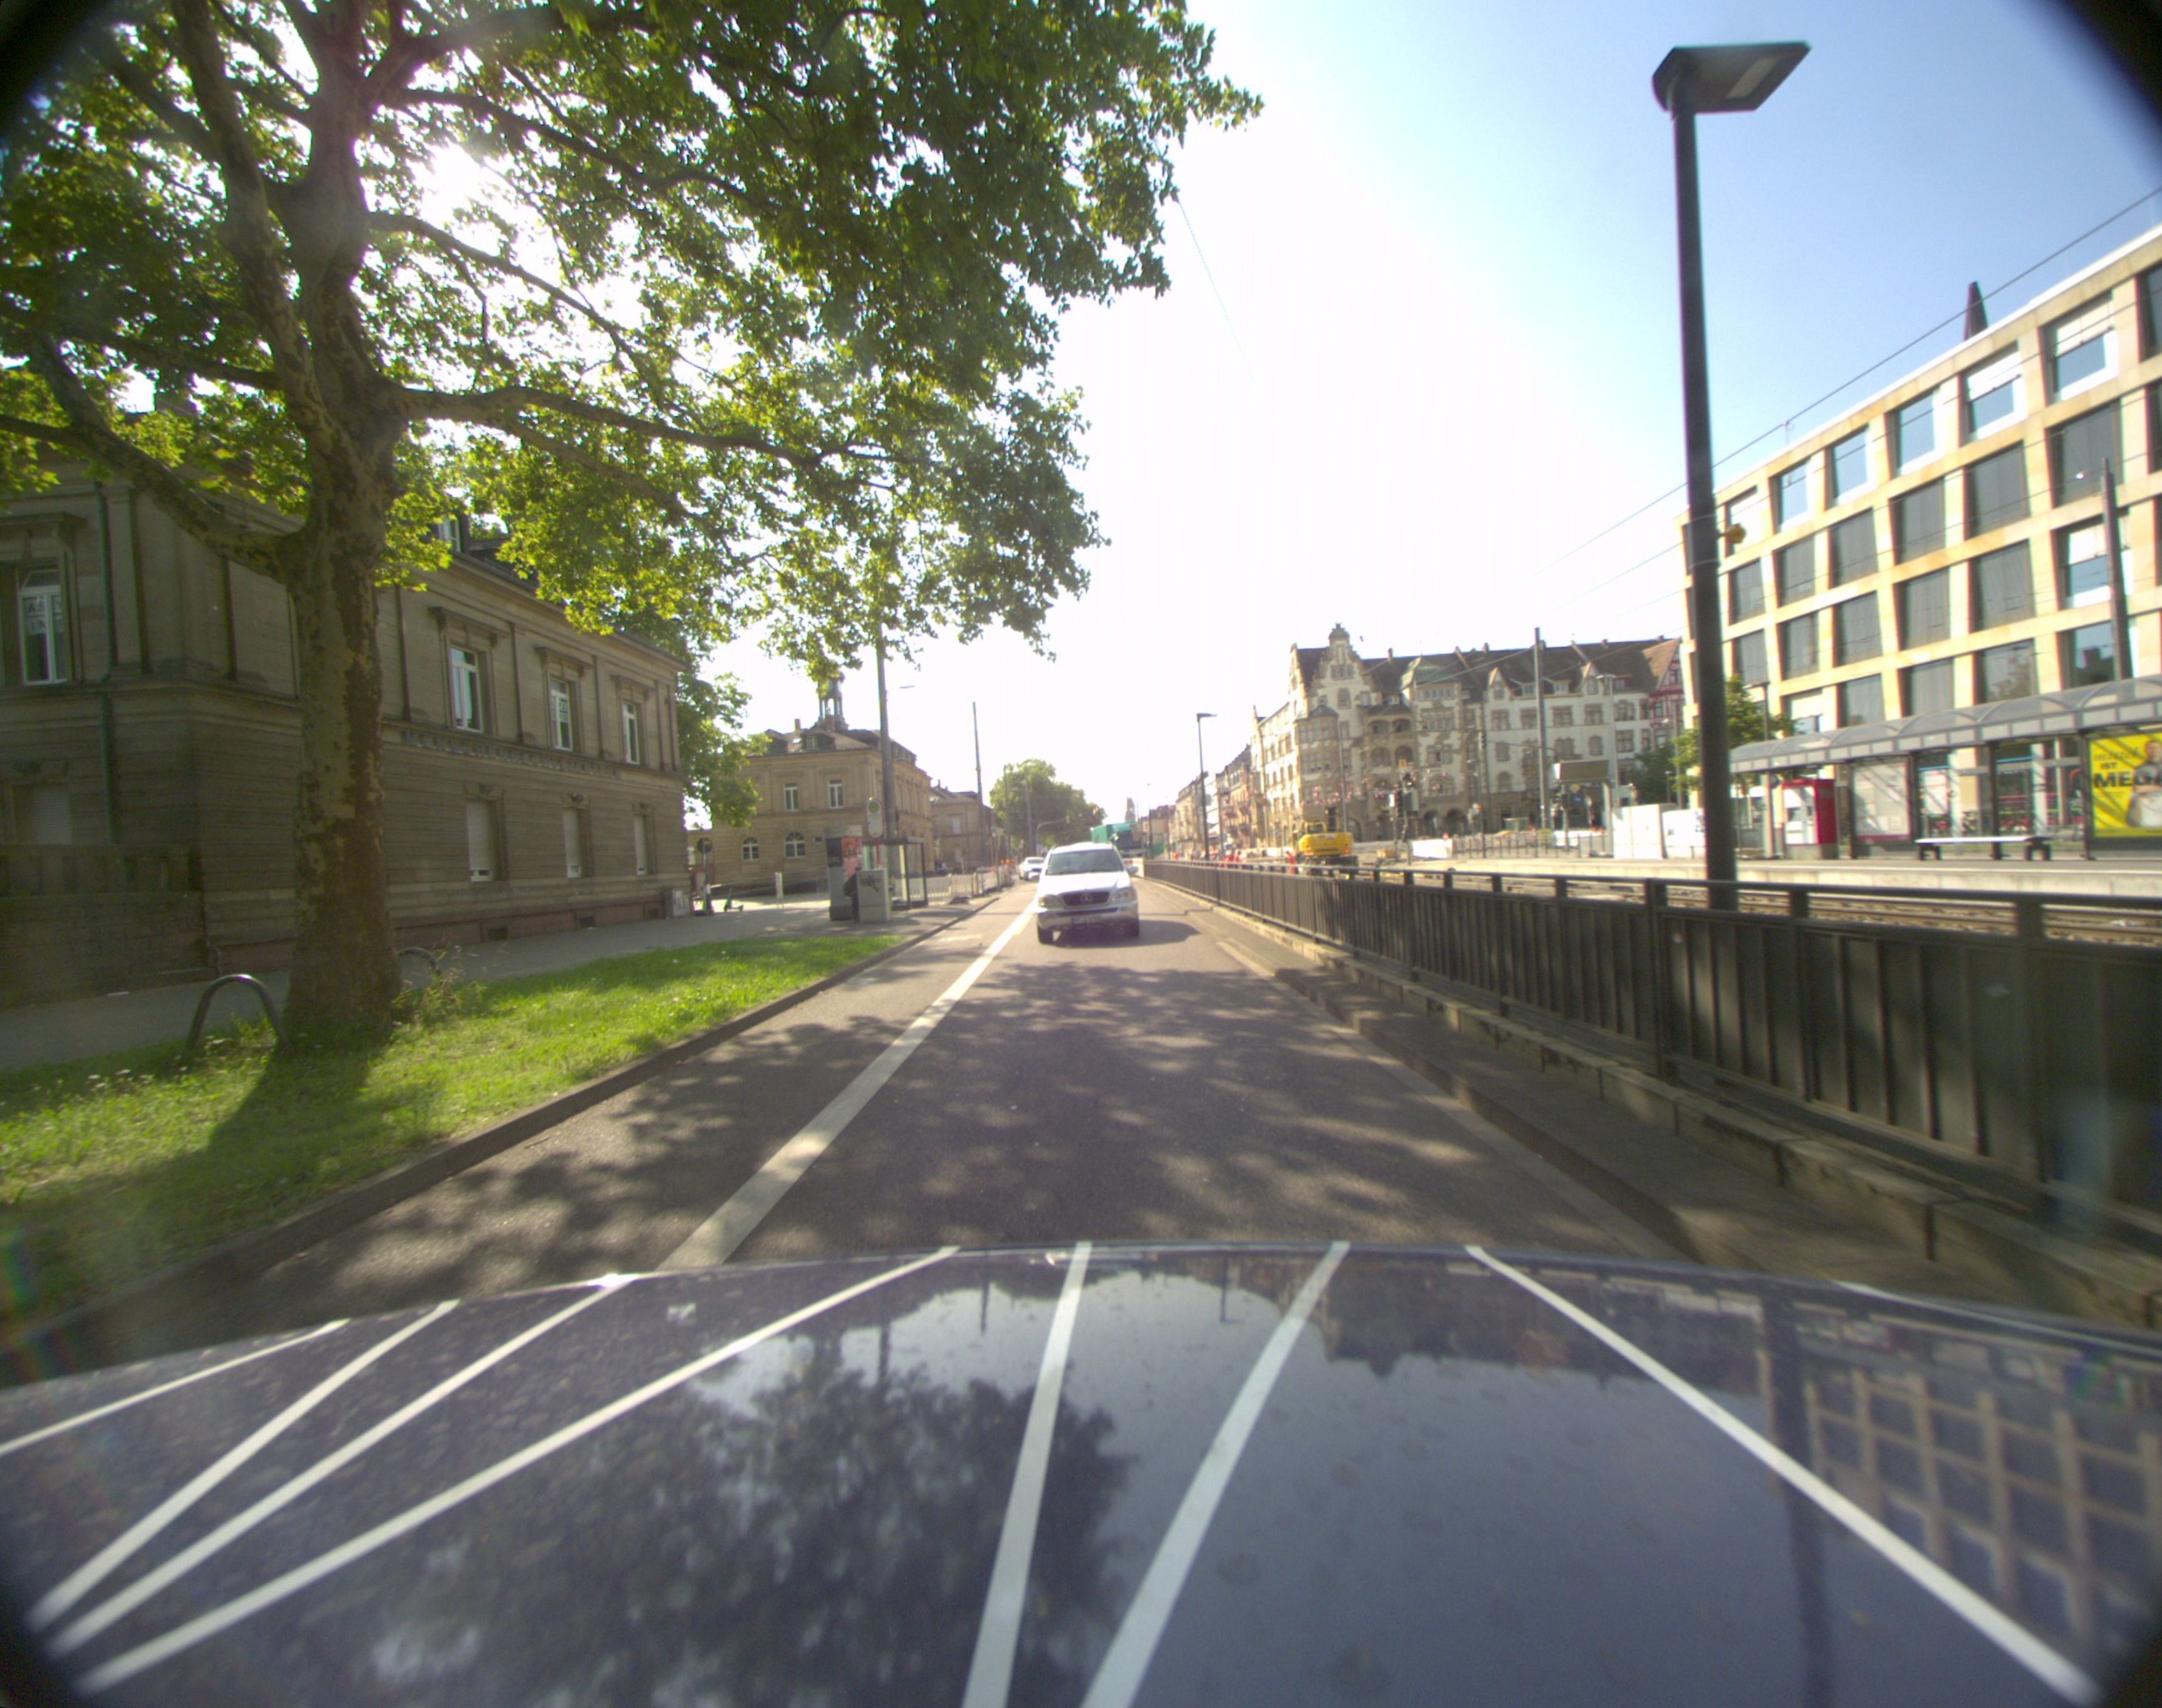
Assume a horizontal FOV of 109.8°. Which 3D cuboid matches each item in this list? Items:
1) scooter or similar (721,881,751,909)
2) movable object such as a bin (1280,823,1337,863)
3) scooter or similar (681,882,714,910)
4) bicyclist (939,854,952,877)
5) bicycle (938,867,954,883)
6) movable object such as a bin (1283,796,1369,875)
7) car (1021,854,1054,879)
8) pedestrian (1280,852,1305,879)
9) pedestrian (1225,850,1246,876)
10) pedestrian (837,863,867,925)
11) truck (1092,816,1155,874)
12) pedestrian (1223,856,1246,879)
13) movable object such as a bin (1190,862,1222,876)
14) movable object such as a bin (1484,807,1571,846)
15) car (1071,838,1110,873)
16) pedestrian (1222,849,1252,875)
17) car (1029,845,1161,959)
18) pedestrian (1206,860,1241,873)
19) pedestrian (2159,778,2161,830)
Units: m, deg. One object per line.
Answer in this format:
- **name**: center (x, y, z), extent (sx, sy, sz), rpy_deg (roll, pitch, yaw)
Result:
- **scooter or similar**: center (-15.641, 1.859, 34.480), extent (0.421, 1.202, 1.257), rpy_deg (-3, -2, 23)
- **movable object such as a bin**: center (20.540, -0.956, 69.133), extent (2.853, 3.310, 8.347), rpy_deg (-3, 0, 3)
- **scooter or similar**: center (-17.149, 1.876, 34.021), extent (1.256, 1.202, 0.422), rpy_deg (-2, -1, -24)
- **bicyclist**: center (-9.381, 0.823, 52.631), extent (0.719, 1.534, 0.955), rpy_deg (-3, 0, -1)
- **bicycle**: center (-9.352, 1.437, 52.639), extent (0.719, 1.036, 1.903), rpy_deg (-3, 0, -1)
- **movable object such as a bin**: center (14.568, -1.021, 44.611), extent (3.507, 3.989, 9.055), rpy_deg (-3, 0, 25)
- **car**: center (-3.303, 0.941, 56.575), extent (2.000, 1.685, 5.222), rpy_deg (-3, 0, -7)
- **pedestrian**: center (10.871, 0.582, 39.076), extent (1.017, 1.299, 0.983), rpy_deg (-3, 0, 4)
- **pedestrian**: center (8.092, 0.469, 39.802), extent (0.838, 1.299, 0.800), rpy_deg (-3, 0, 25)
- **pedestrian**: center (-6.475, 1.107, 21.434), extent (0.690, 1.687, 0.648), rpy_deg (-3, 1, -20)
- **truck**: center (2.858, -0.521, 53.518), extent (2.682, 3.656, 8.208), rpy_deg (-3, 0, -8)
- **pedestrian**: center (8.498, 0.756, 42.081), extent (0.983, 1.183, 0.800), rpy_deg (-3, 0, 25)
- **movable object such as a bin**: center (6.443, 0.776, 39.172), extent (1.507, 0.649, 0.702), rpy_deg (-3, 0, 22)
- **movable object such as a bin**: center (35.934, -2.201, 61.219), extent (5.627, 2.723, 2.135), rpy_deg (-3, 1, 0)
- **car**: center (0.724, 0.144, 65.241), extent (2.232, 2.713, 5.166), rpy_deg (-4, 0, -11)
- **pedestrian**: center (8.357, 0.442, 40.691), extent (1.313, 1.299, 0.800), rpy_deg (-3, 0, 25)
- **car**: center (0.249, 0.754, 14.600), extent (1.998, 1.685, 5.225), rpy_deg (-3, 0, 1)
- **pedestrian**: center (8.280, 0.720, 44.214), extent (1.906, 0.632, 0.913), rpy_deg (-3, 0, 4)
- **pedestrian**: center (33.262, -1.540, 22.505), extent (0.978, 1.588, 1.123), rpy_deg (-3, 0, 1)
